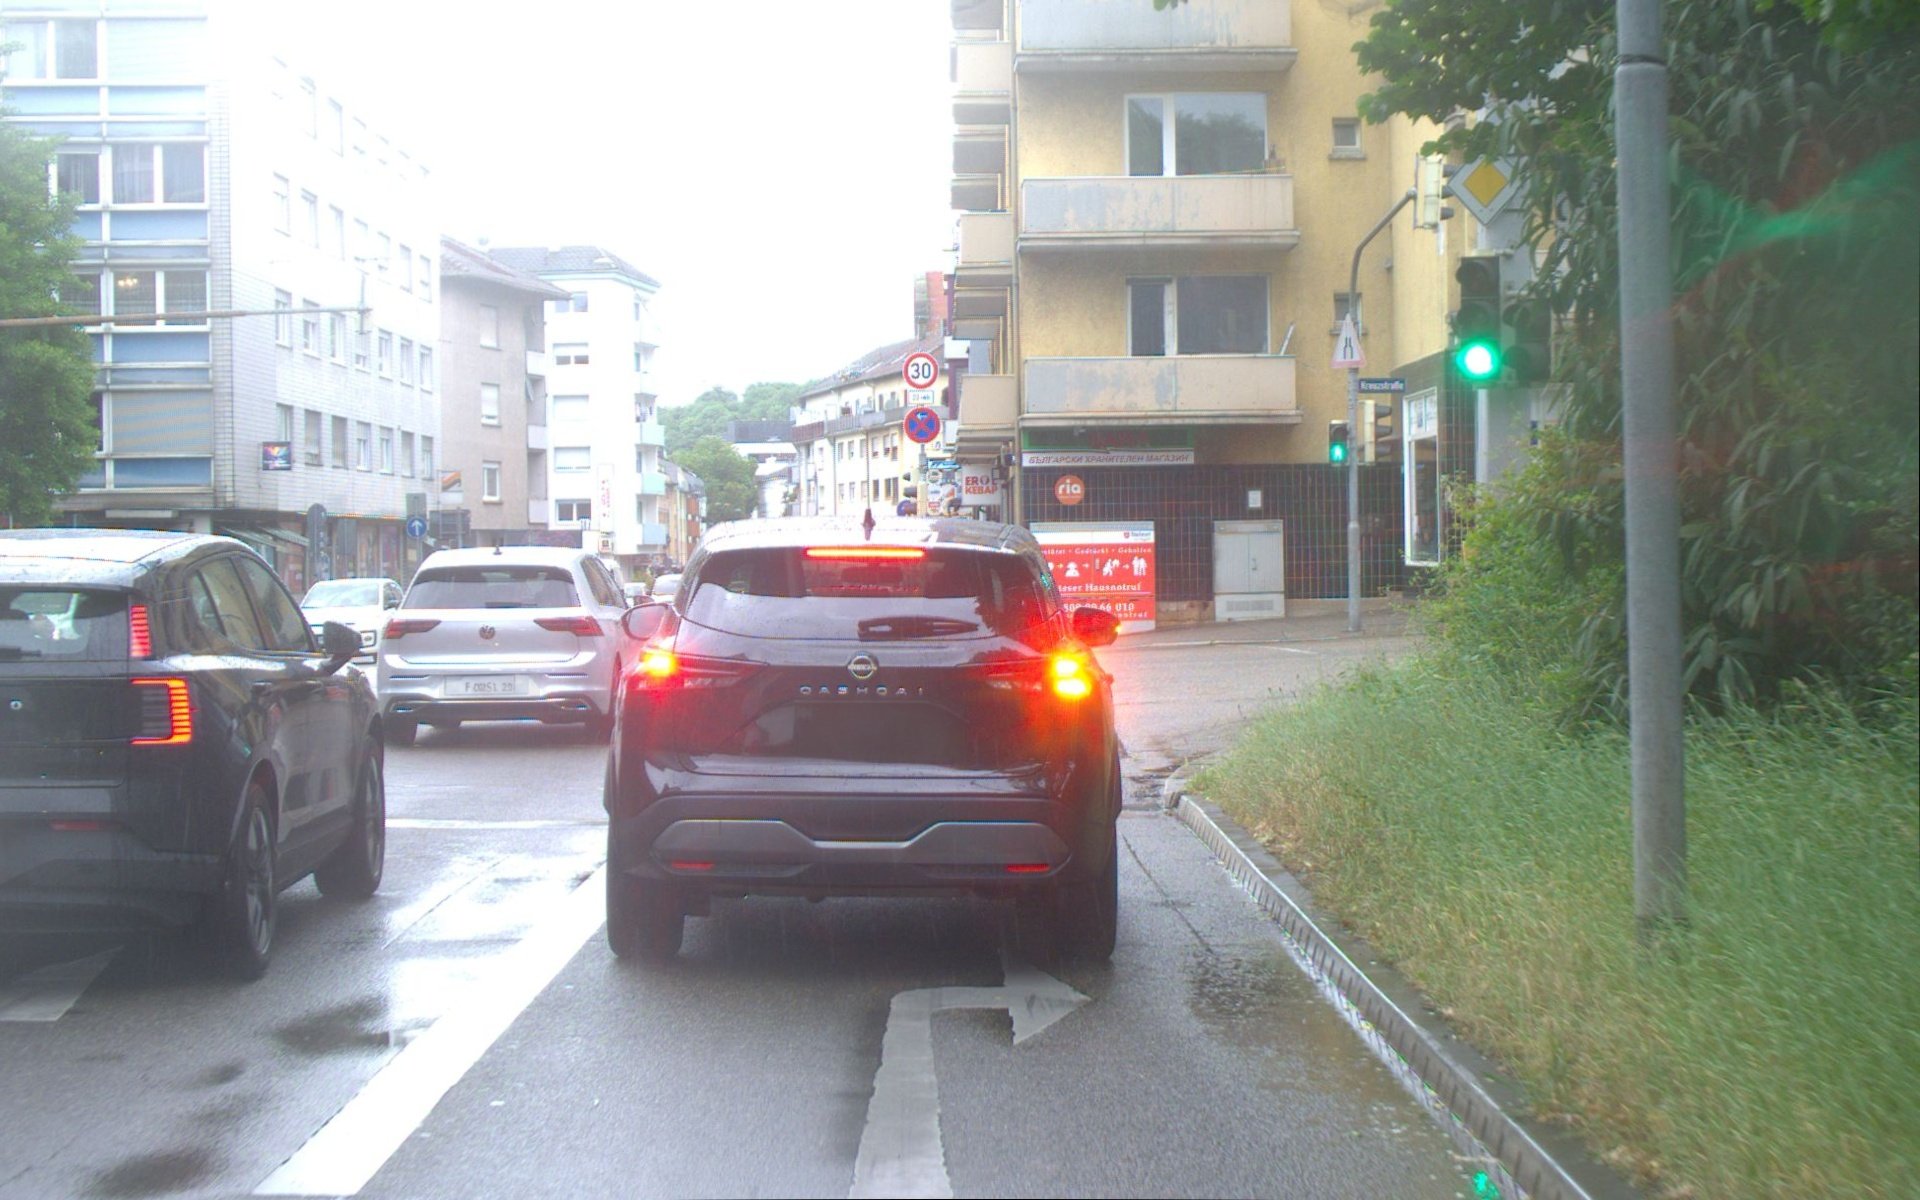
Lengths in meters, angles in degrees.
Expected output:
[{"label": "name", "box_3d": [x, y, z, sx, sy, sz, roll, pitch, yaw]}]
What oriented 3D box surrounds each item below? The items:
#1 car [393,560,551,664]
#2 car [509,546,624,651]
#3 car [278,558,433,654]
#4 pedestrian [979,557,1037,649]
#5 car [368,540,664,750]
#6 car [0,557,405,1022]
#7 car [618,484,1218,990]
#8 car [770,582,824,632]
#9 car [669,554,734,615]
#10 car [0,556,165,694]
[{"label": "car", "box_3d": [-7.621, 0.163, 53.991, 1.787, 1.486, 3.814, -2, 1, 2]}, {"label": "car", "box_3d": [-7.192, -0.055, 63.201, 1.779, 1.809, 4.407, -2, 1, -3]}, {"label": "car", "box_3d": [-10.376, 0.080, 59.259, 1.779, 1.473, 3.793, -4, 1, 2]}, {"label": "pedestrian", "box_3d": [0.865, 0.051, 61.913, 0.835, 1.553, 0.833, -7, 1, -2]}, {"label": "car", "box_3d": [-3.311, 0.284, 26.303, 1.767, 1.439, 4.000, -1, 1, -1]}, {"label": "car", "box_3d": [-3.113, 0.564, 12.635, 1.613, 1.415, 3.967, 0, 1, -2]}, {"label": "car", "box_3d": [-0.207, 0.423, 13.387, 1.959, 1.647, 4.000, 1, 1, -2]}, {"label": "car", "box_3d": [-7.016, 0.294, 148.133, 1.993, 2.007, 4.000, -3, 1, 1]}, {"label": "car", "box_3d": [-9.115, -0.579, 121.464, 1.910, 2.007, 4.000, -3, 1, 0]}, {"label": "car", "box_3d": [-11.190, 0.302, 41.596, 1.994, 1.489, 4.088, -4, 1, 2]}]
